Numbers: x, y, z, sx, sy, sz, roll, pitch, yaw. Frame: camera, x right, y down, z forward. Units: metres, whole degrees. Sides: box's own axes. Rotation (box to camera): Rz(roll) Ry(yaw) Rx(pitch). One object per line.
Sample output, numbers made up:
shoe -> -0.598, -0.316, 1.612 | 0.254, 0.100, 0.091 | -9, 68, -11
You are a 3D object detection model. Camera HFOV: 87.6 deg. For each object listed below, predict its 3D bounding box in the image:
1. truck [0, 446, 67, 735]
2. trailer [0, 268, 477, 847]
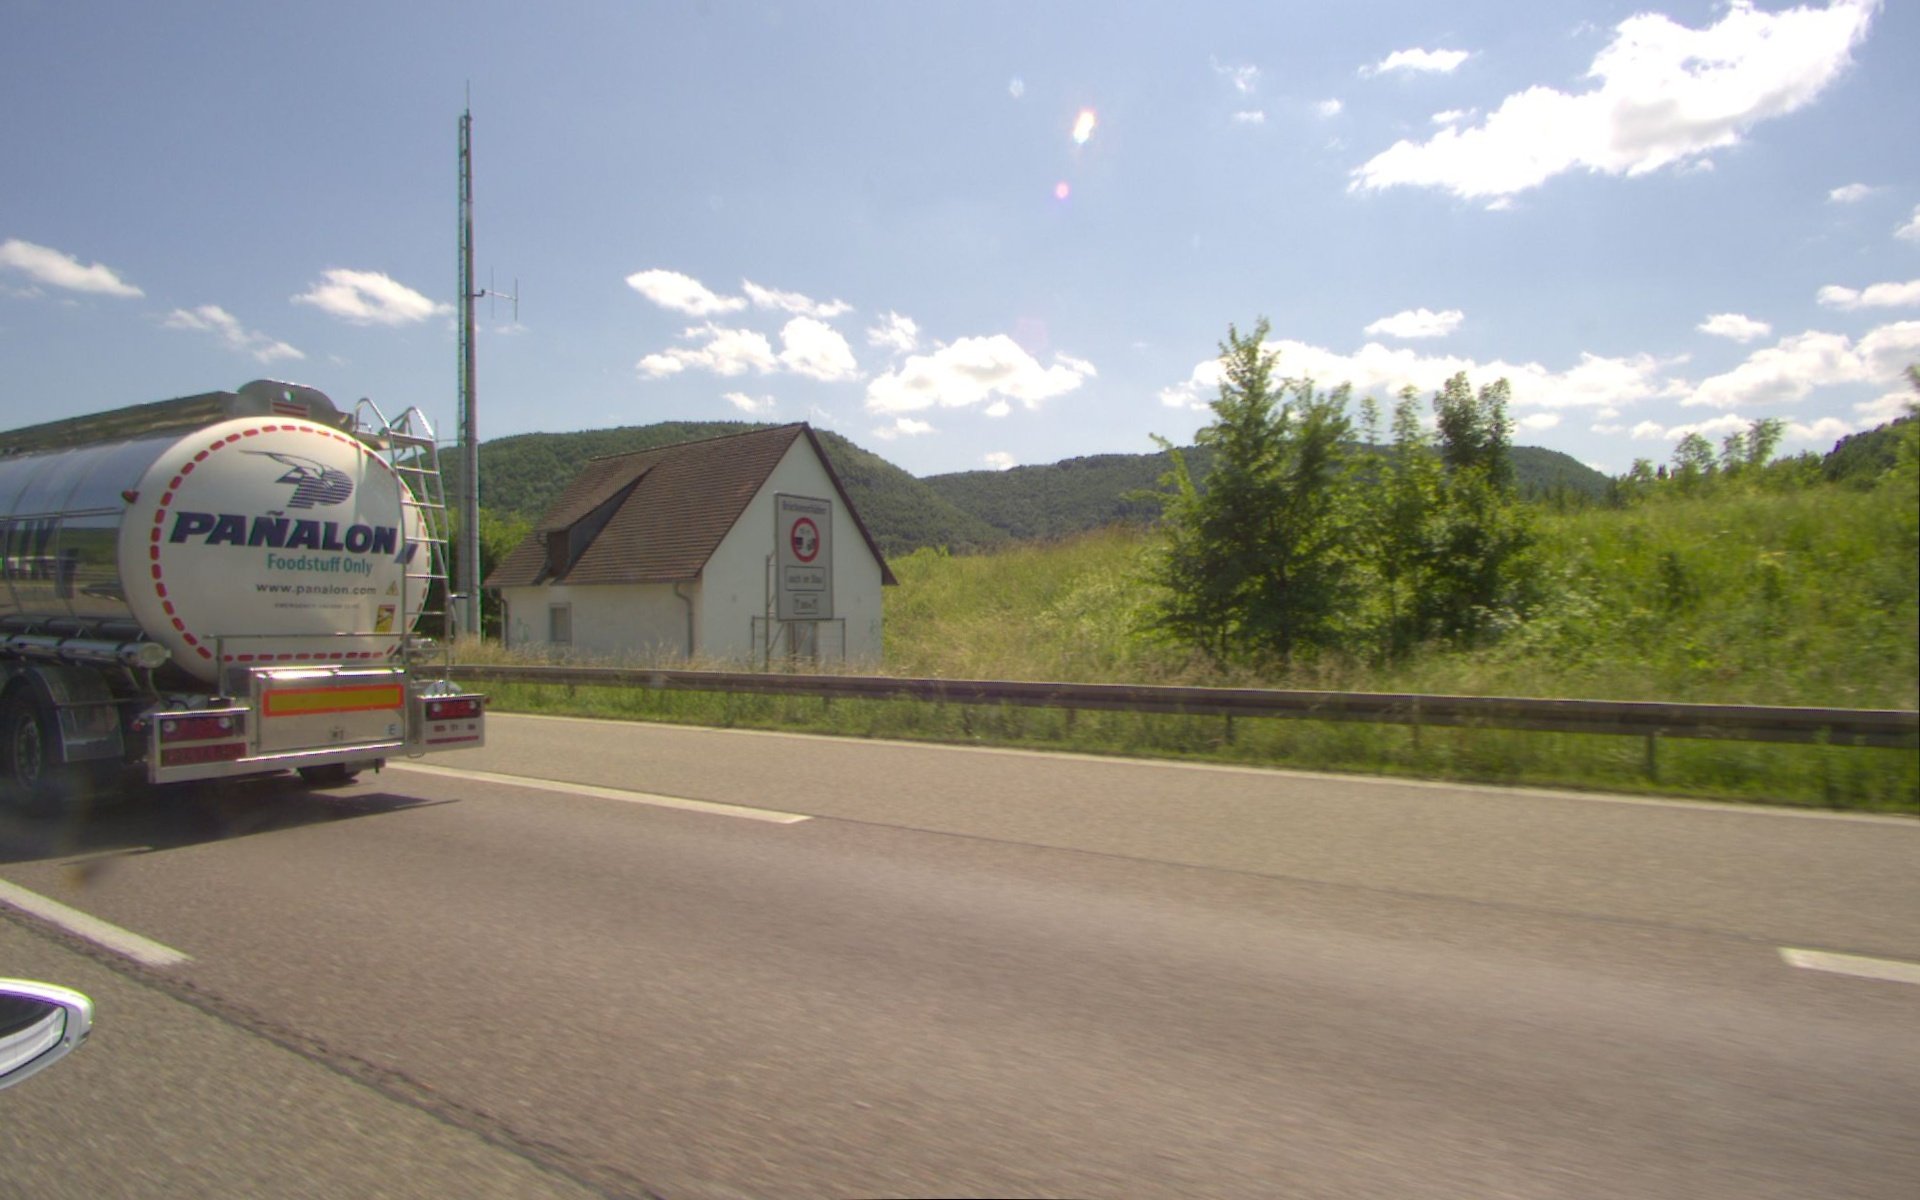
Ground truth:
truck -> -15.140, -0.108, 14.087 | 5.170, 3.807, 2.507 | -1, -1, 32
trailer -> -9.821, -0.174, 10.755 | 11.721, 3.784, 2.534 | -1, -1, 32
